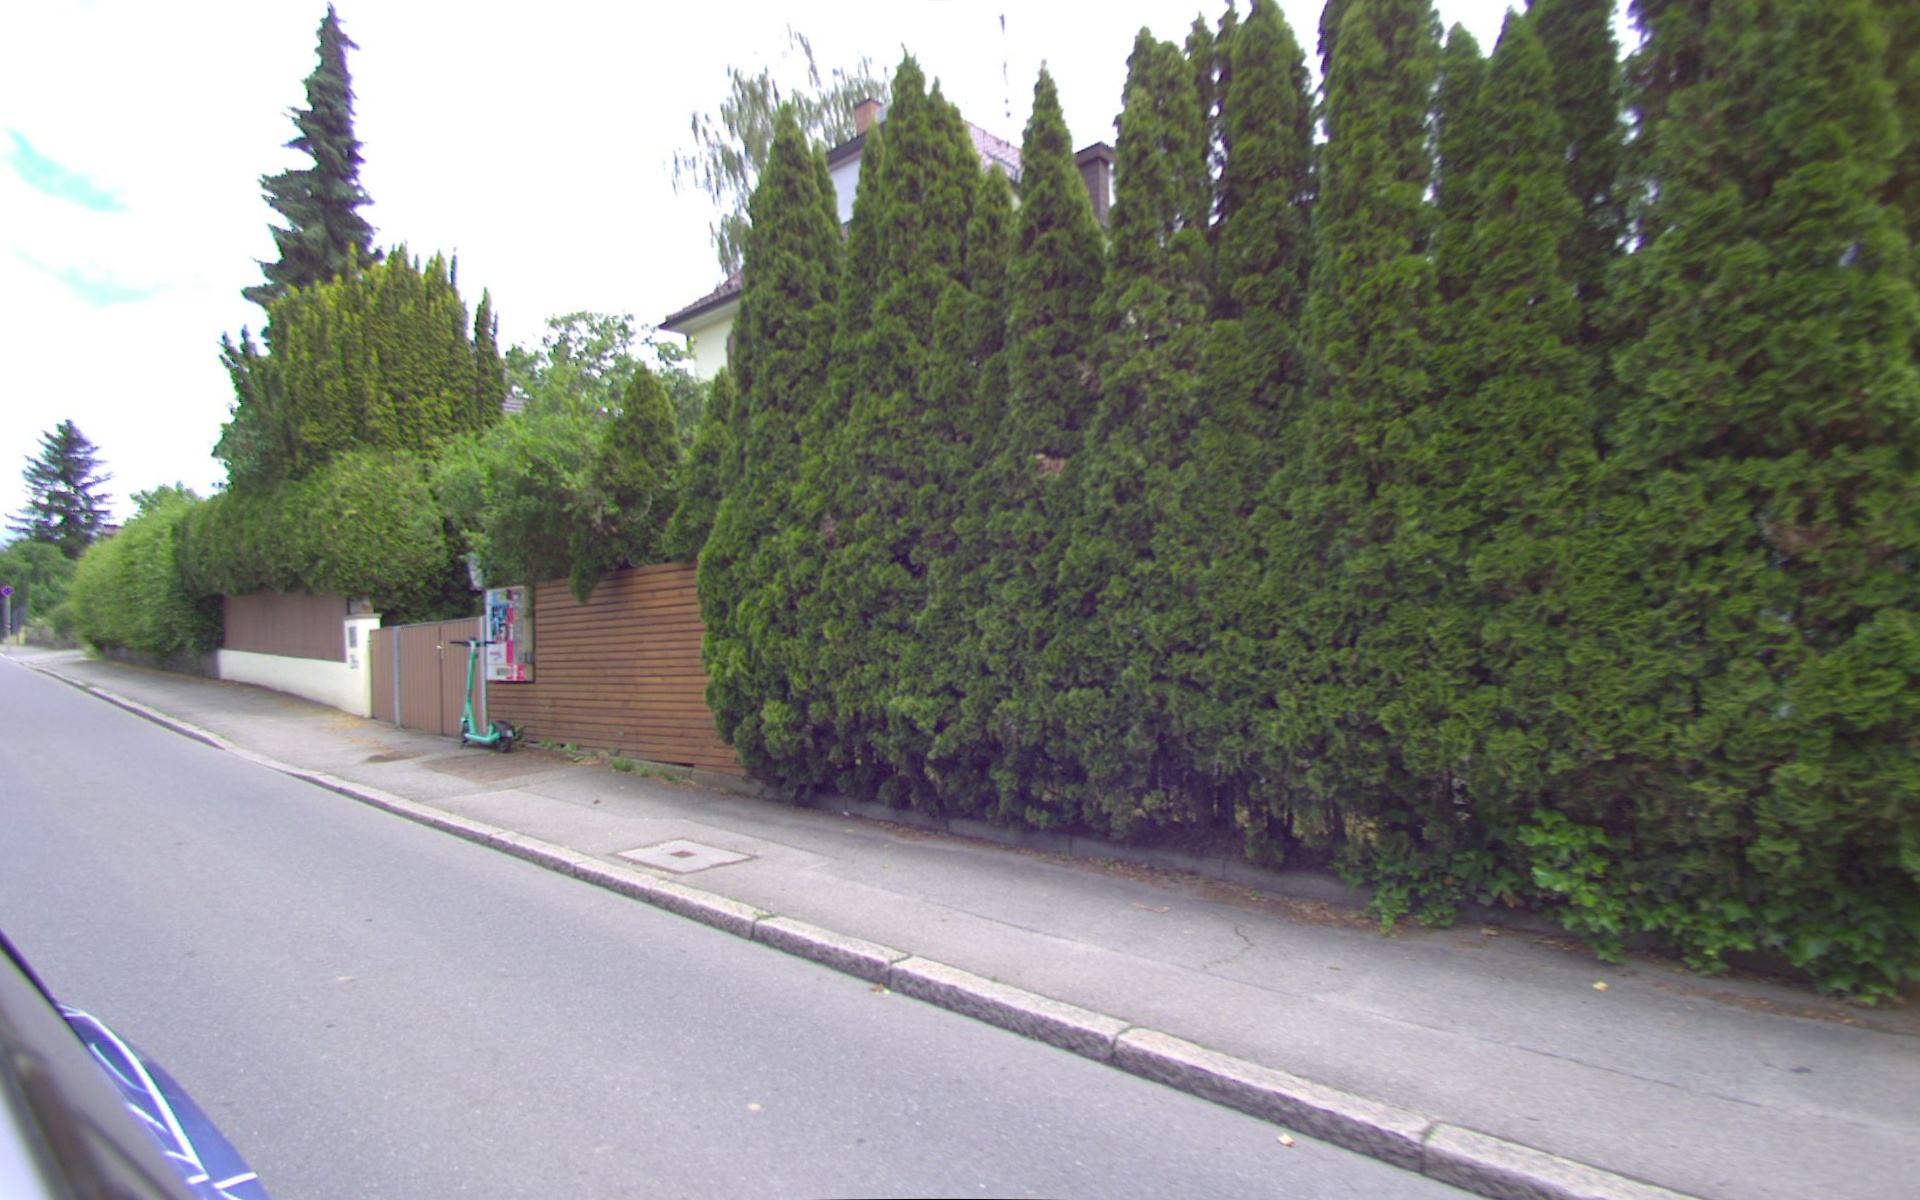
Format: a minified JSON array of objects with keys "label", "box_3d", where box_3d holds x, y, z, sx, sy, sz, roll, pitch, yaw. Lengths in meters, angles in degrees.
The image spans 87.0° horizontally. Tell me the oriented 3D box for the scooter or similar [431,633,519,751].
[{"label":"scooter or similar","box_3d":[-5.188,0.947,10.794,1.270,1.180,0.387,-1,0,42]}]
